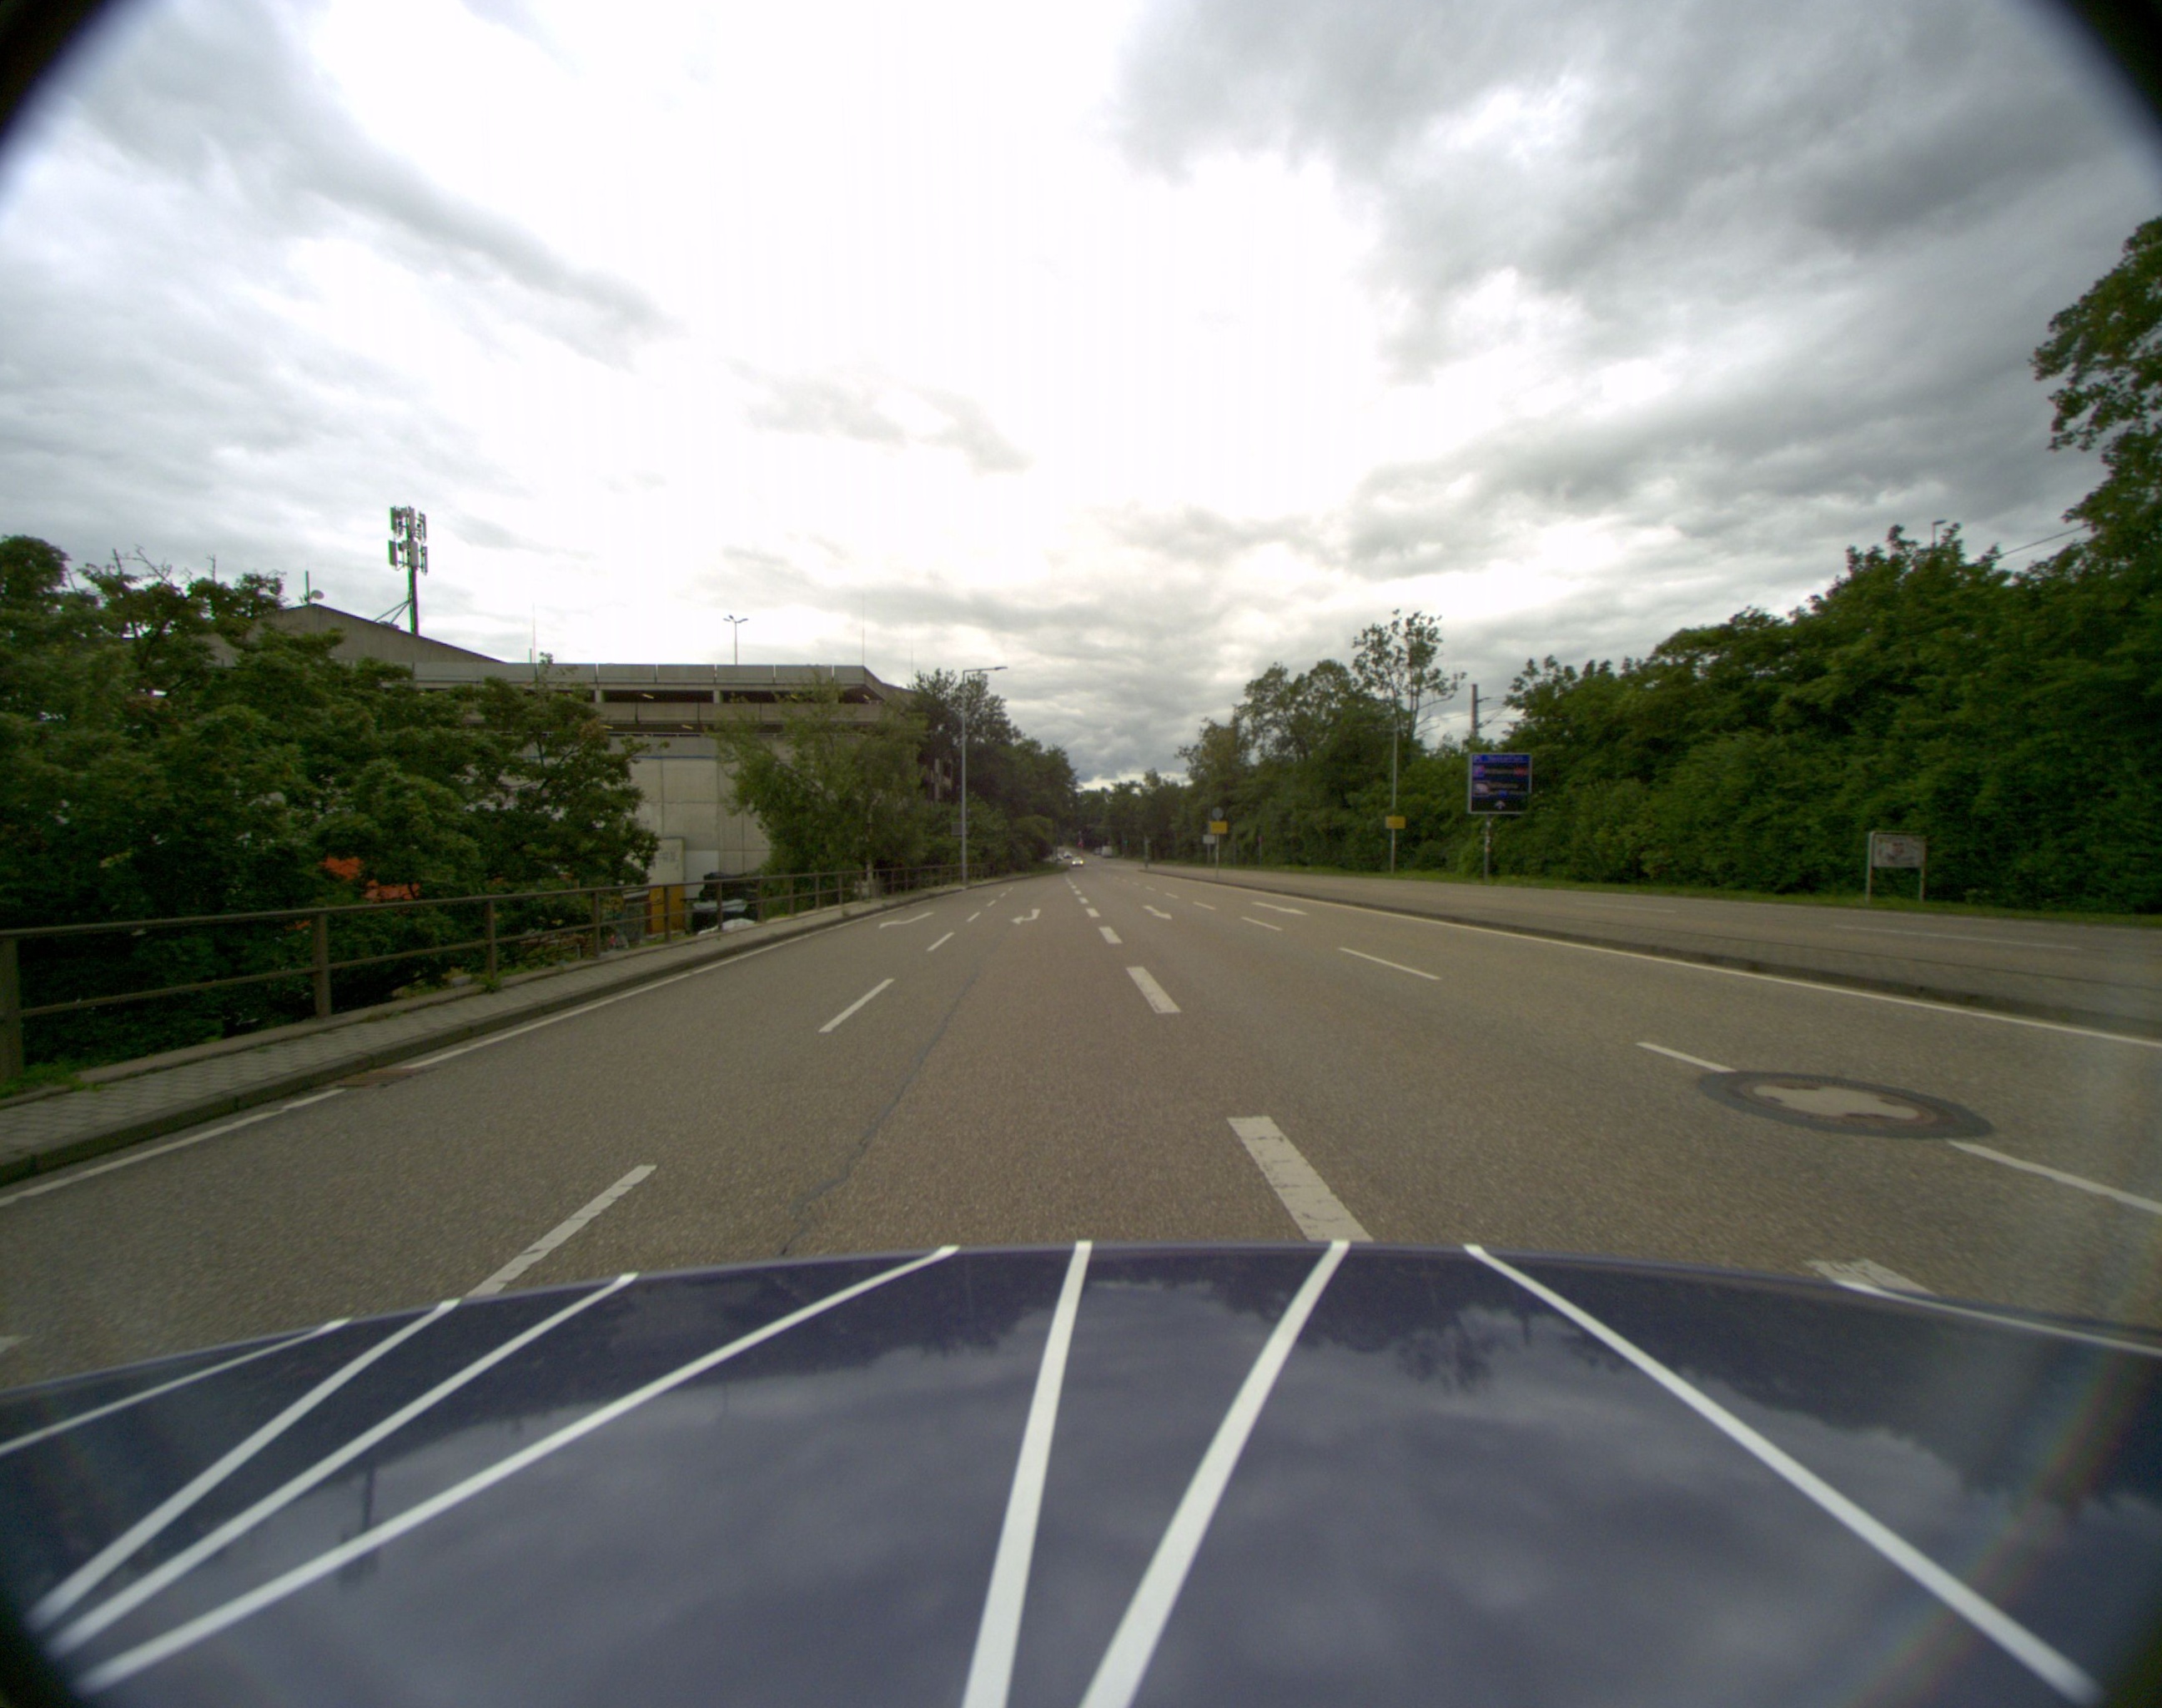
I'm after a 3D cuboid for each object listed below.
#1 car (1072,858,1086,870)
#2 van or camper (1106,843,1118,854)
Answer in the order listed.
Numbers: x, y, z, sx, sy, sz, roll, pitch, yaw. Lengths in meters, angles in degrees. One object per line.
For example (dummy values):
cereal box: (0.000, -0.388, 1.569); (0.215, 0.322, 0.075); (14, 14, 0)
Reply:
car: (-0.365, 1.412, 111.461); (1.855, 1.471, 4.506); (-1, 2, -3)
van or camper: (7.170, -1.261, 176.606); (2.289, 2.540, 6.858); (-5, 0, -2)
